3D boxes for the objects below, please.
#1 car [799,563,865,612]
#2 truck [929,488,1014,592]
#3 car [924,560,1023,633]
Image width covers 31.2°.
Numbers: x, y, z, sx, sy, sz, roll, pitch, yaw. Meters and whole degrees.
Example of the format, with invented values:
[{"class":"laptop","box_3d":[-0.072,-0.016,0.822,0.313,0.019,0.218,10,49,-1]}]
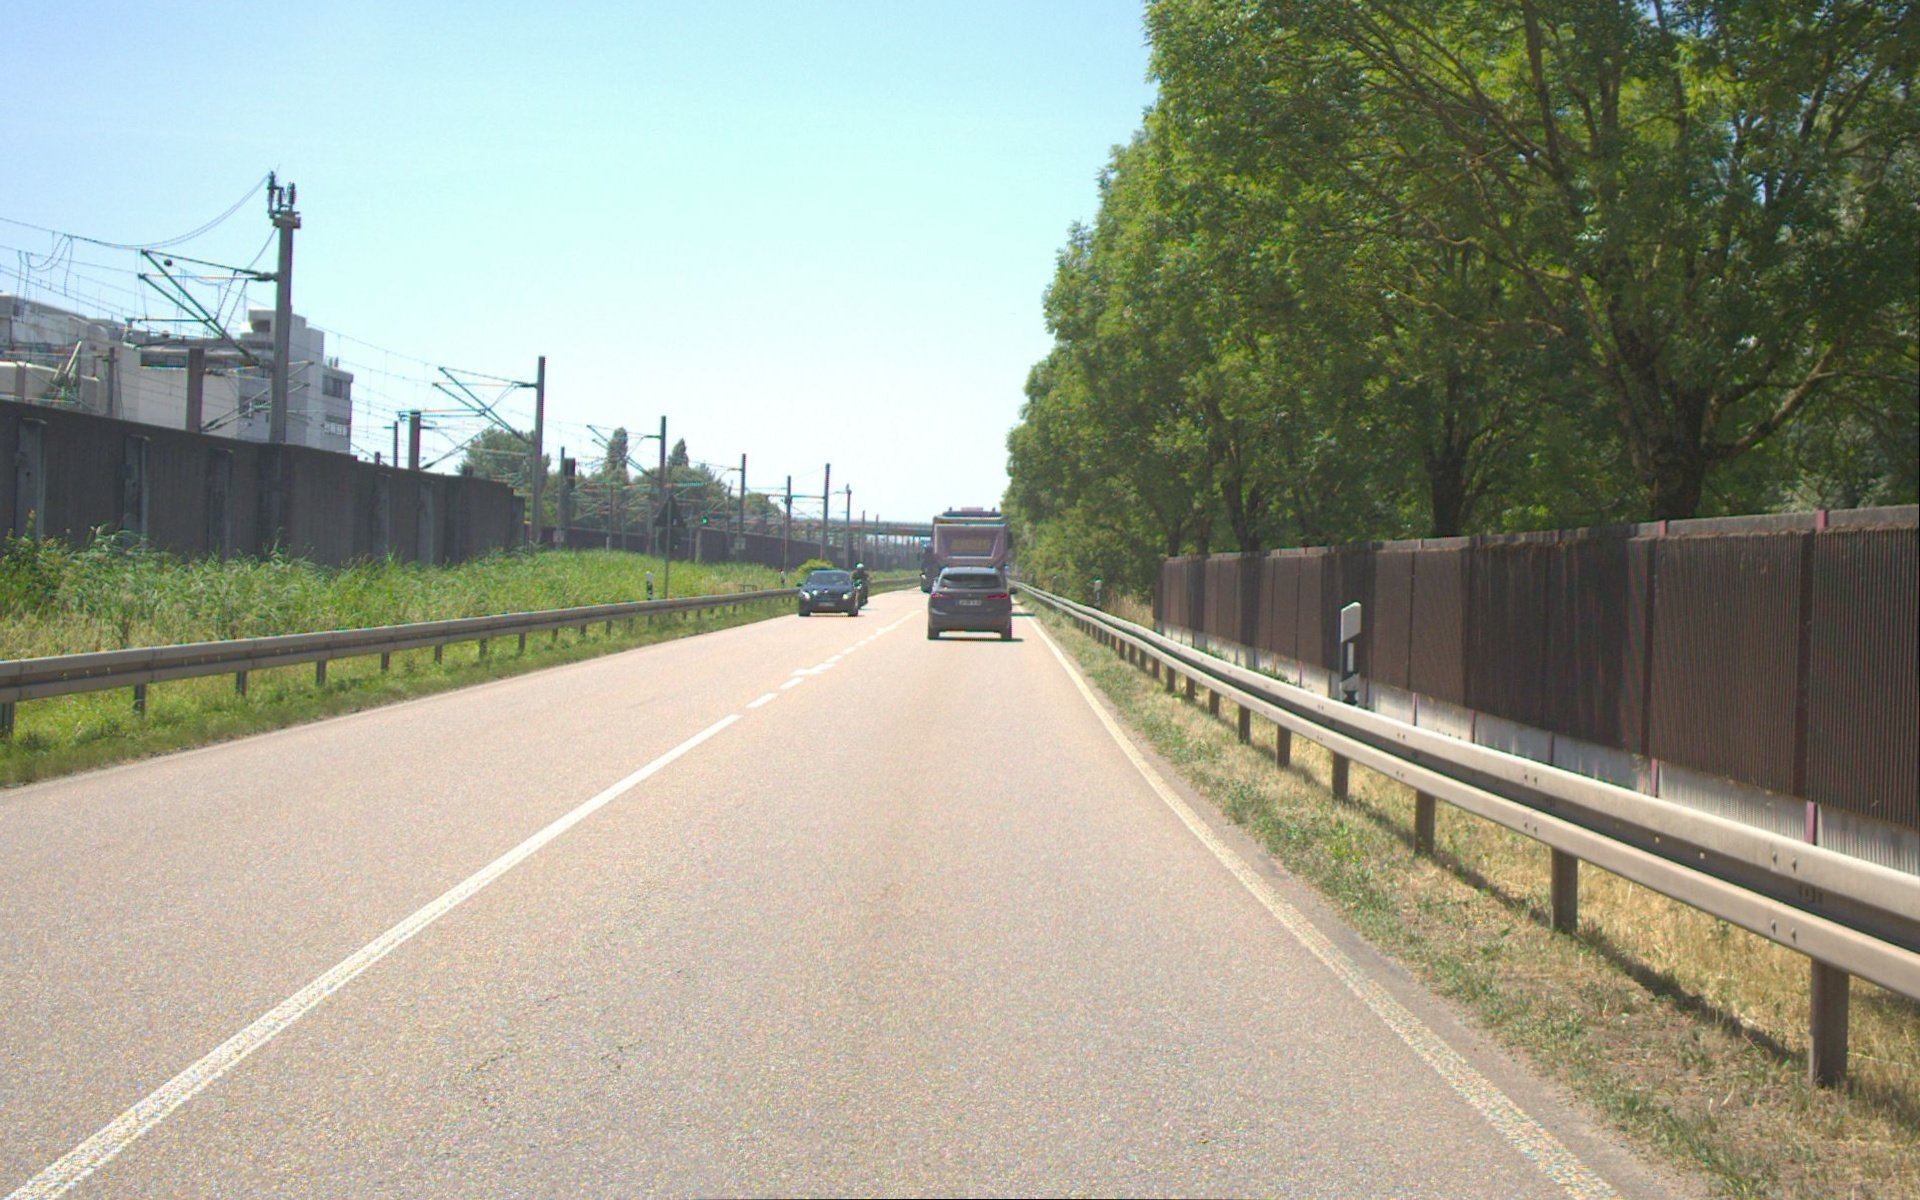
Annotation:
[{"class":"car","box_3d":[-4.025,-0.404,108.949,1.993,1.503,4.000,1,1,-1]},{"class":"truck","box_3d":[0.411,-2.051,120.483,2.770,3.414,10.819,1,0,0]},{"class":"car","box_3d":[0.256,-0.092,74.506,1.993,1.503,4.000,1,1,-2]}]
